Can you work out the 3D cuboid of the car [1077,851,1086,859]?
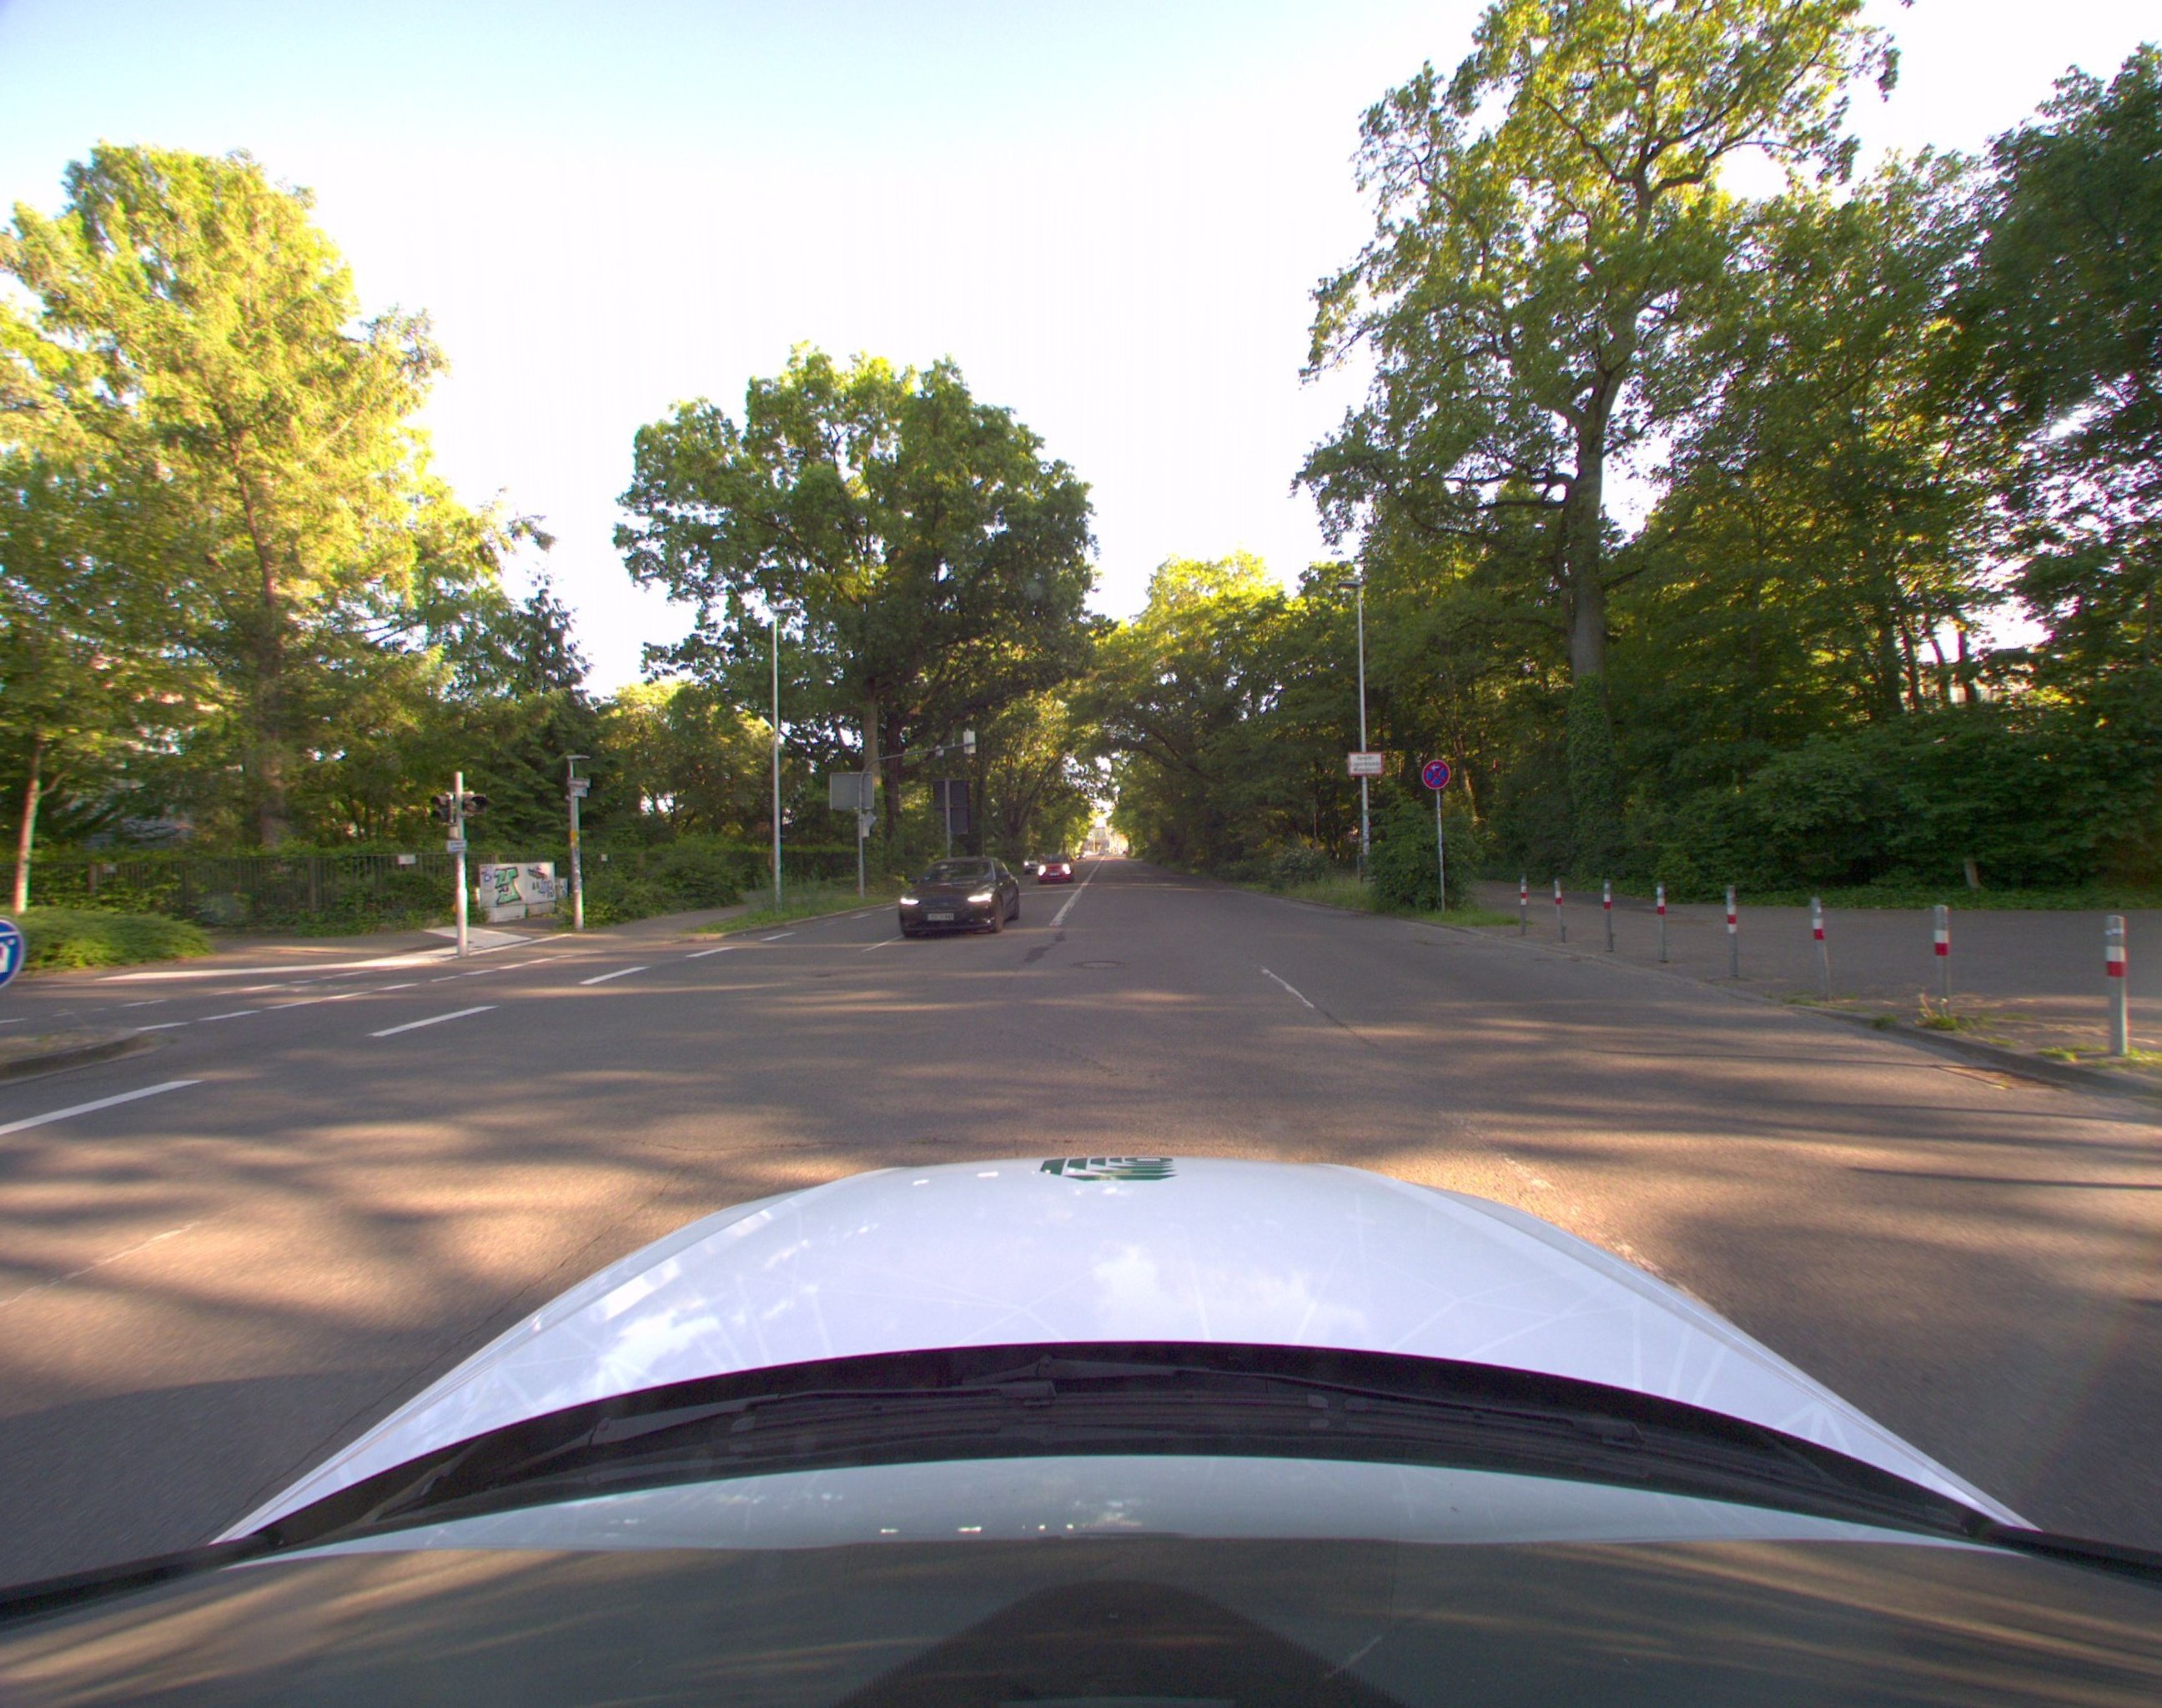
[{"bbox_3d":[0.105,0.127,159.457,1.791,1.506,4.365,-2,0,1],"label":"car"}]

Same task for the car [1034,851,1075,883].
[{"bbox_3d":[-1.295,0.639,41.501,1.791,1.506,4.365,-2,0,1],"label":"car"}]

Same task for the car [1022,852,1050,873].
[{"bbox_3d":[-3.458,0.632,63.256,1.791,1.506,4.365,-2,0,1],"label":"car"}]

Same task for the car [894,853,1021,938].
[{"bbox_3d":[-2.417,0.759,17.063,1.881,1.506,4.365,-2,0,1],"label":"car"}]
